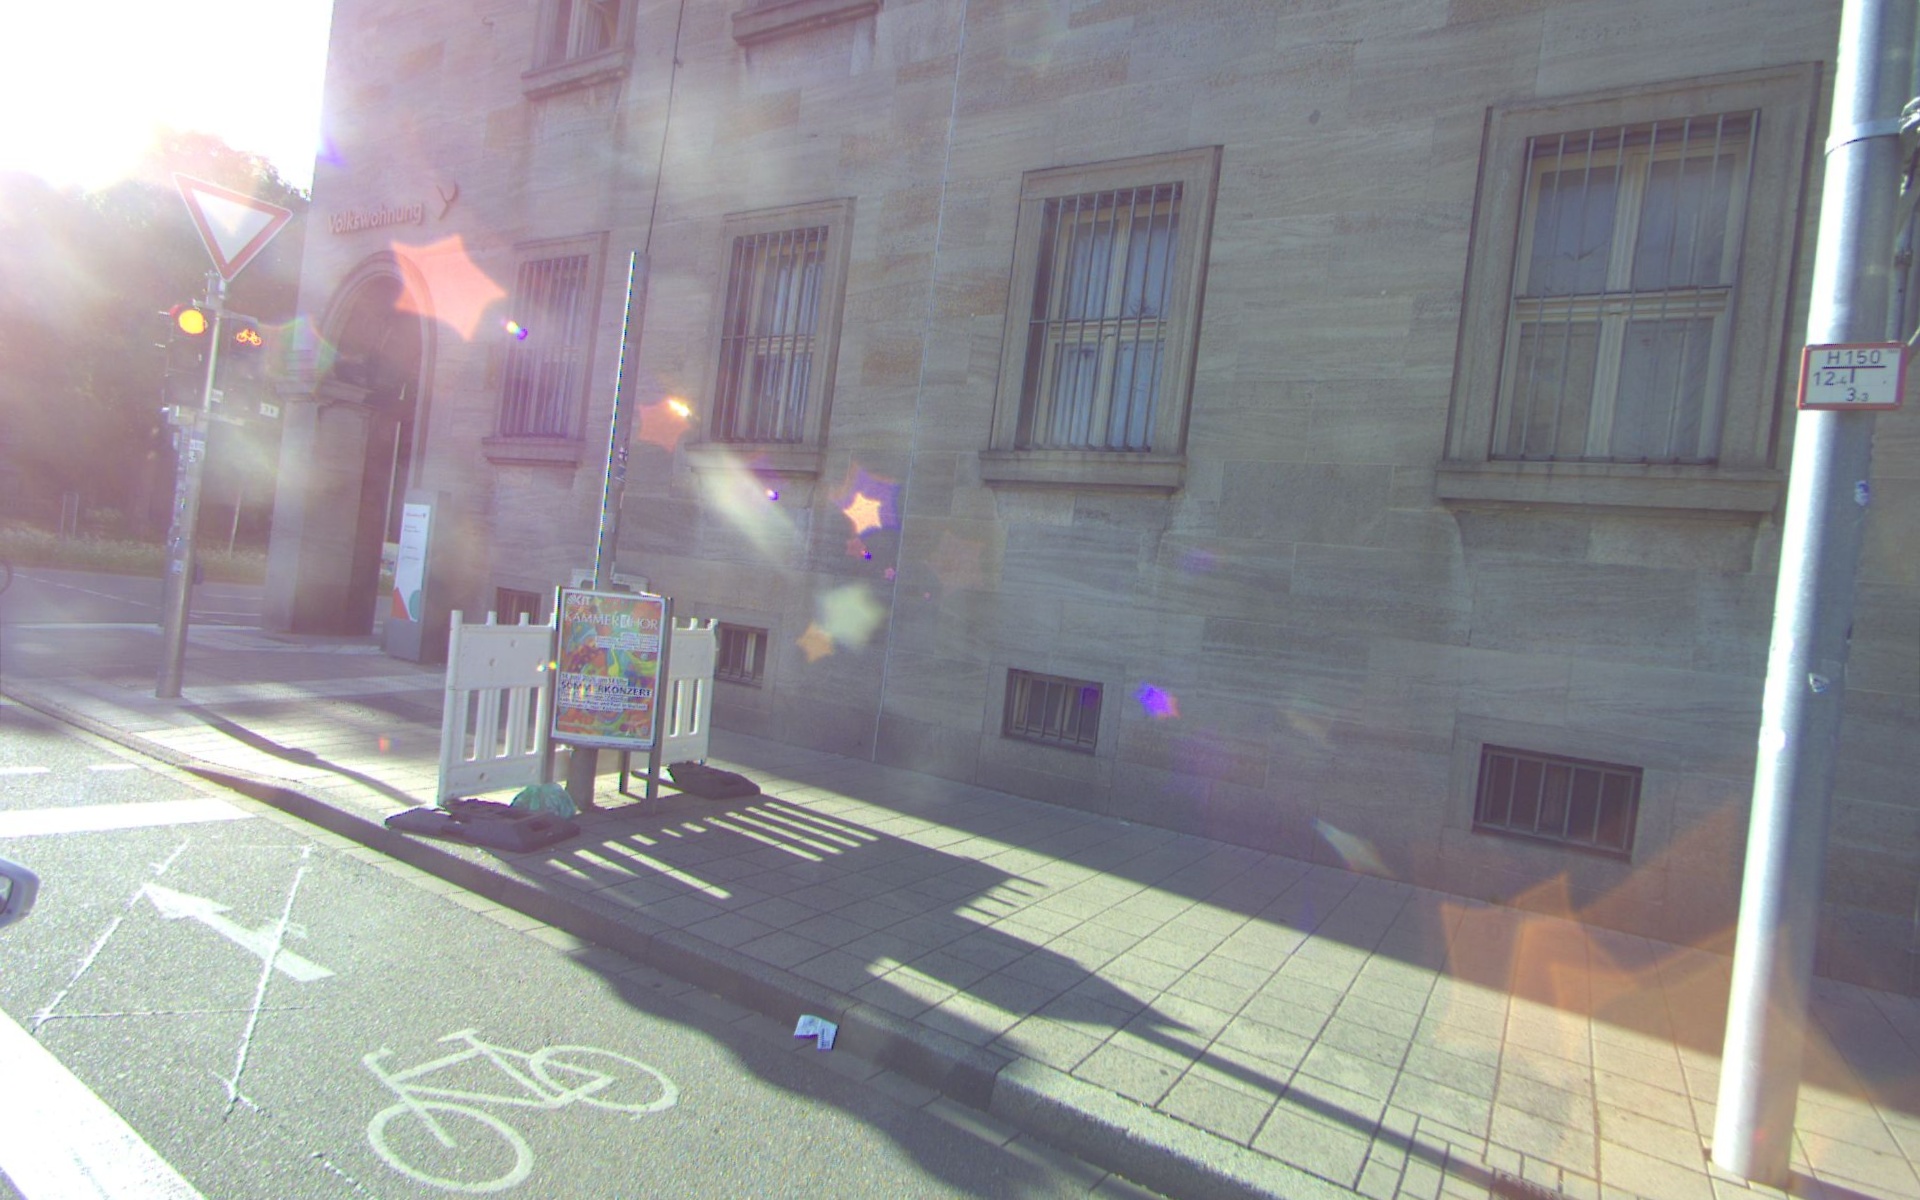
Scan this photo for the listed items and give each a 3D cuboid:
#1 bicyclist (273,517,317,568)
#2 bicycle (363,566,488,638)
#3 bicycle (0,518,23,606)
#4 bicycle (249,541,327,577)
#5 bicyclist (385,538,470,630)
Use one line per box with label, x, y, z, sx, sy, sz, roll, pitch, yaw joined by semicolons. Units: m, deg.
bicyclist;-22.446;-1.928;33.956;0.565;1.579;0.976;7;0;31
bicycle;-9.911;0.053;18.709;0.754;1.099;1.813;9;1;35
bicycle;-13.898;-0.612;13.375;0.753;1.172;1.878;9;0;25
bicycle;-22.575;-1.379;33.842;0.565;0.944;2.068;7;-1;31
bicyclist;-9.877;-0.283;18.674;0.754;1.531;1.002;9;2;35
